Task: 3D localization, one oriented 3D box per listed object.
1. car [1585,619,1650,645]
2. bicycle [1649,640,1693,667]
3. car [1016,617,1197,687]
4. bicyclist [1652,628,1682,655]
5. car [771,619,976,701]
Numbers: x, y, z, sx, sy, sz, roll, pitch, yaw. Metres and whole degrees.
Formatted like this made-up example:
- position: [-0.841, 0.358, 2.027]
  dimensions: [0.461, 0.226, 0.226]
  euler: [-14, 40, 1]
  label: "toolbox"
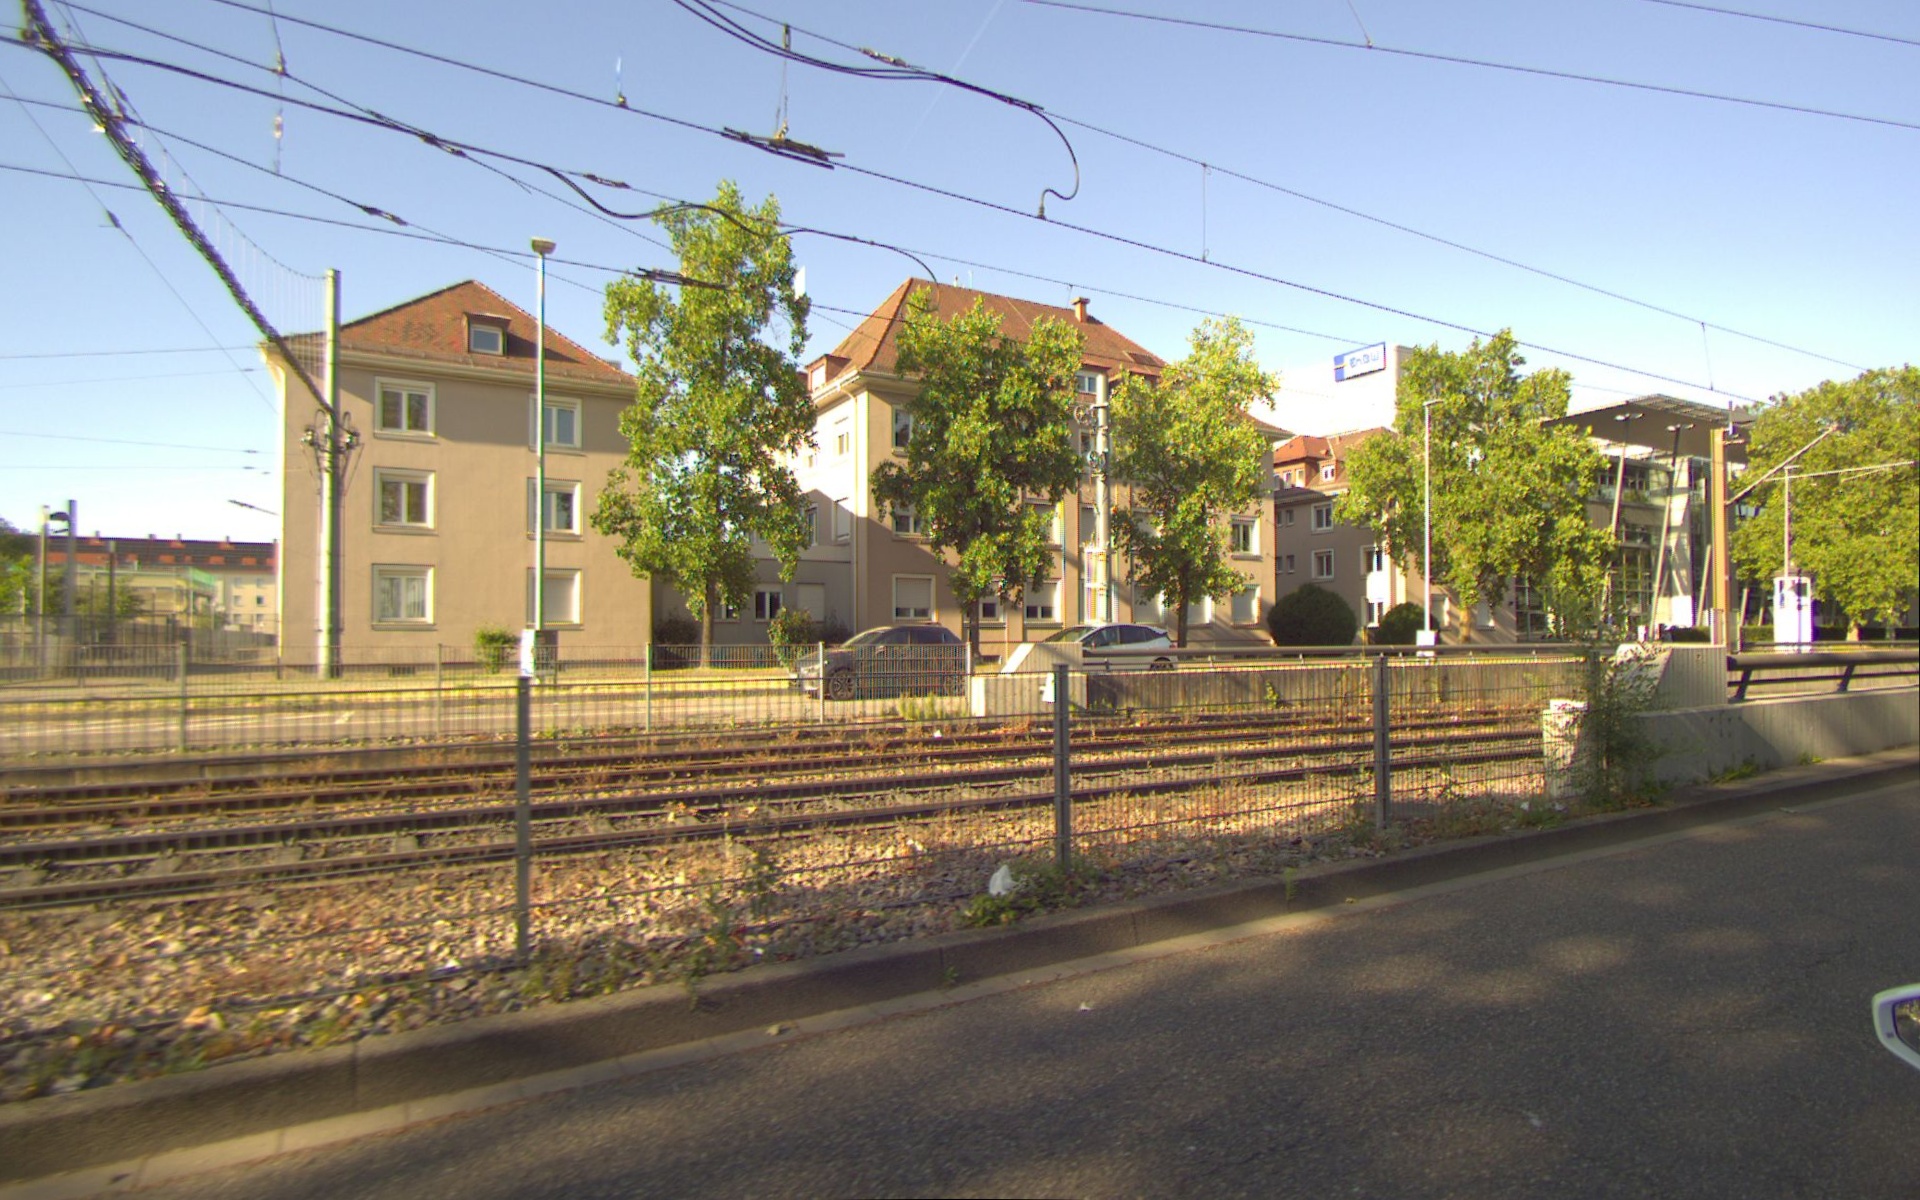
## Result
- position: [53.960, 2.667, 82.483]
  dimensions: [1.977, 2.040, 3.969]
  euler: [0, -3, -30]
  label: "car"
- position: [41.035, 3.071, 57.964]
  dimensions: [3.142, 1.505, 0.925]
  euler: [0, -3, -32]
  label: "bicycle"
- position: [3.542, 1.210, 24.158]
  dimensions: [3.953, 1.550, 1.984]
  euler: [1, -2, -30]
  label: "car"
- position: [40.578, 2.374, 57.639]
  dimensions: [1.258, 1.505, 0.925]
  euler: [0, -2, -32]
  label: "bicyclist"
- position: [-1.784, 1.203, 21.054]
  dimensions: [3.953, 1.567, 1.731]
  euler: [1, -2, -31]
  label: "car"
